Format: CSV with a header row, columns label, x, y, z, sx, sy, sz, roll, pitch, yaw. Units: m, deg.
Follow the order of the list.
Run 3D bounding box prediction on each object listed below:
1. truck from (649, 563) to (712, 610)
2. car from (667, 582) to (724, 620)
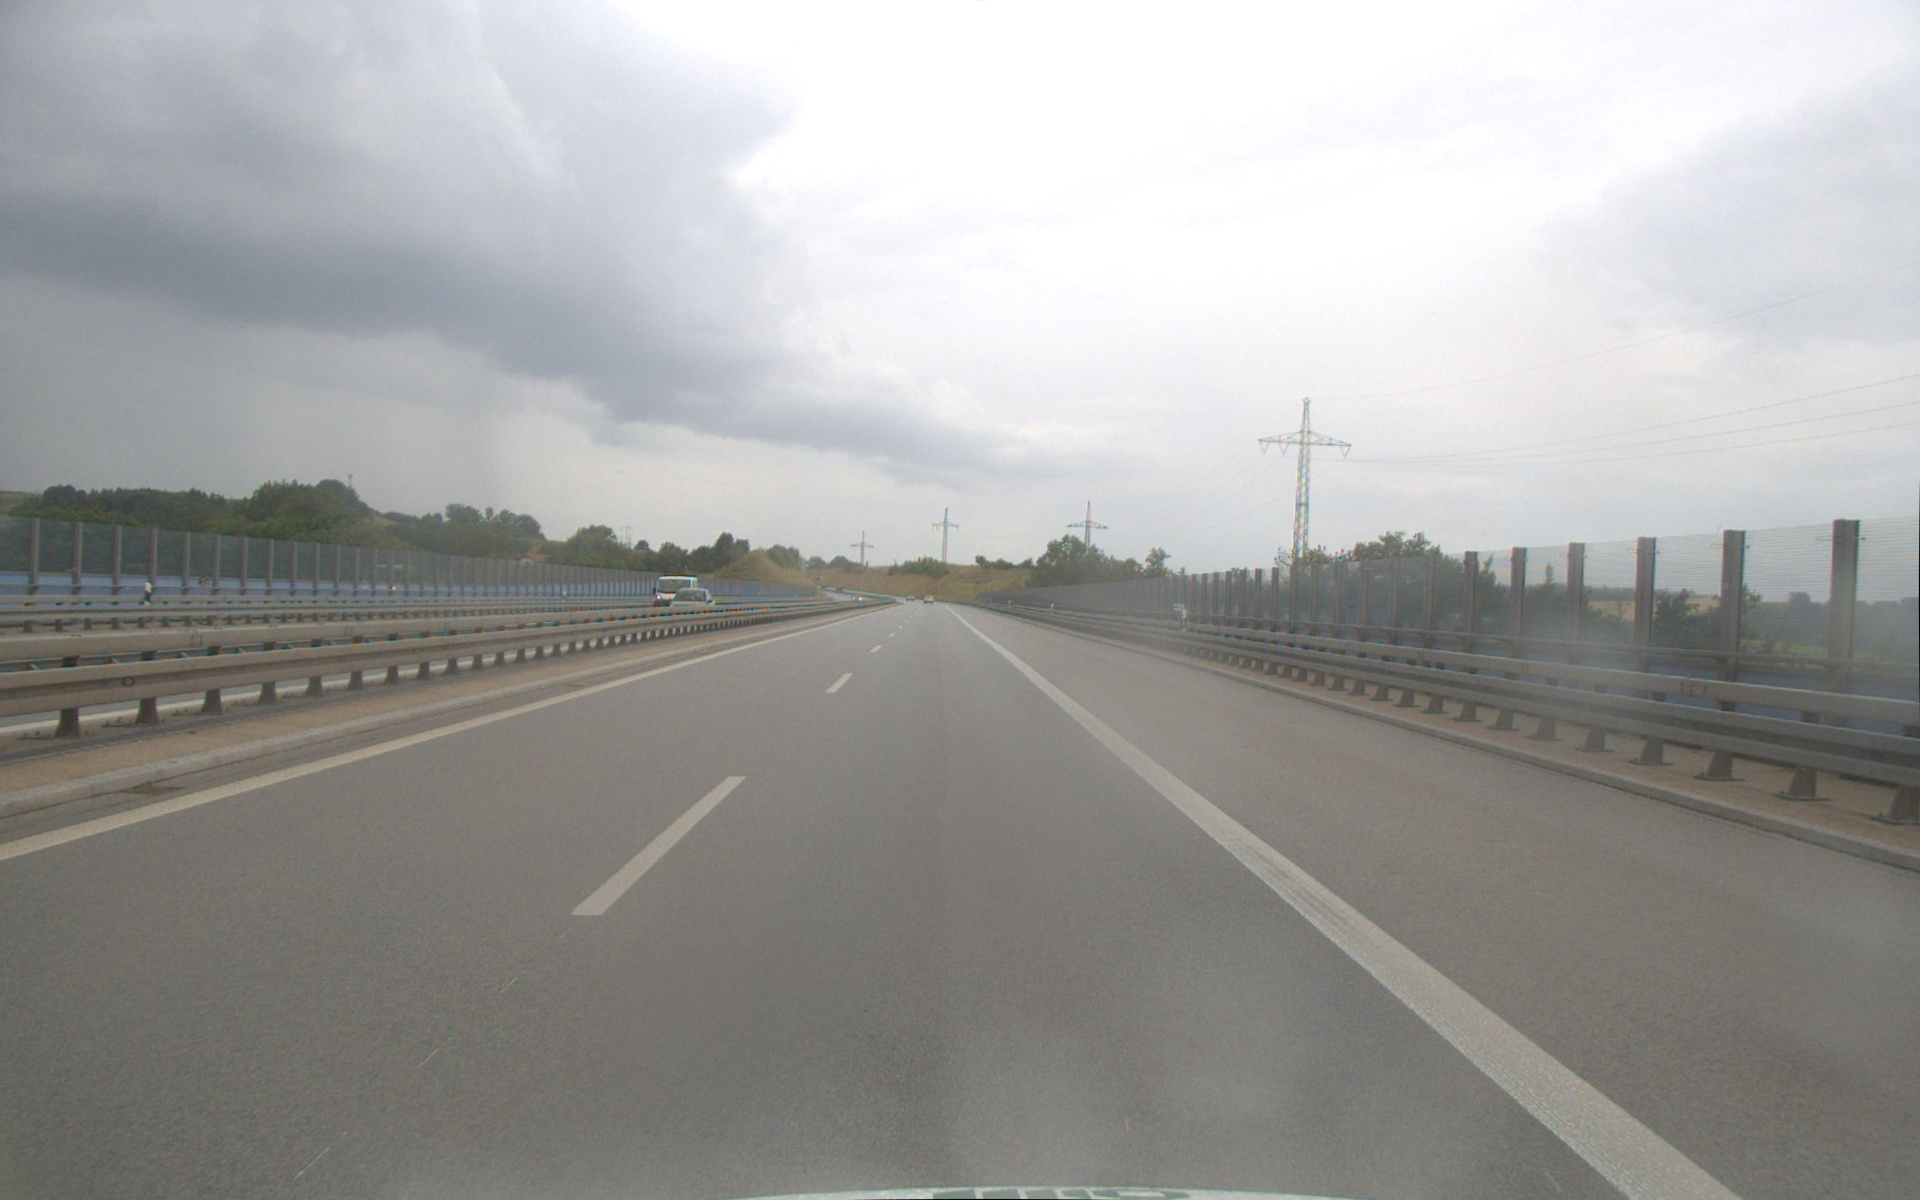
label,x,y,z,sx,sy,sz,roll,pitch,yaw
truck,-15.299,-0.738,91.012,2.226,2.474,7.450,1,0,-1
car,-10.999,0.044,68.986,1.718,1.517,3.999,1,0,-1
